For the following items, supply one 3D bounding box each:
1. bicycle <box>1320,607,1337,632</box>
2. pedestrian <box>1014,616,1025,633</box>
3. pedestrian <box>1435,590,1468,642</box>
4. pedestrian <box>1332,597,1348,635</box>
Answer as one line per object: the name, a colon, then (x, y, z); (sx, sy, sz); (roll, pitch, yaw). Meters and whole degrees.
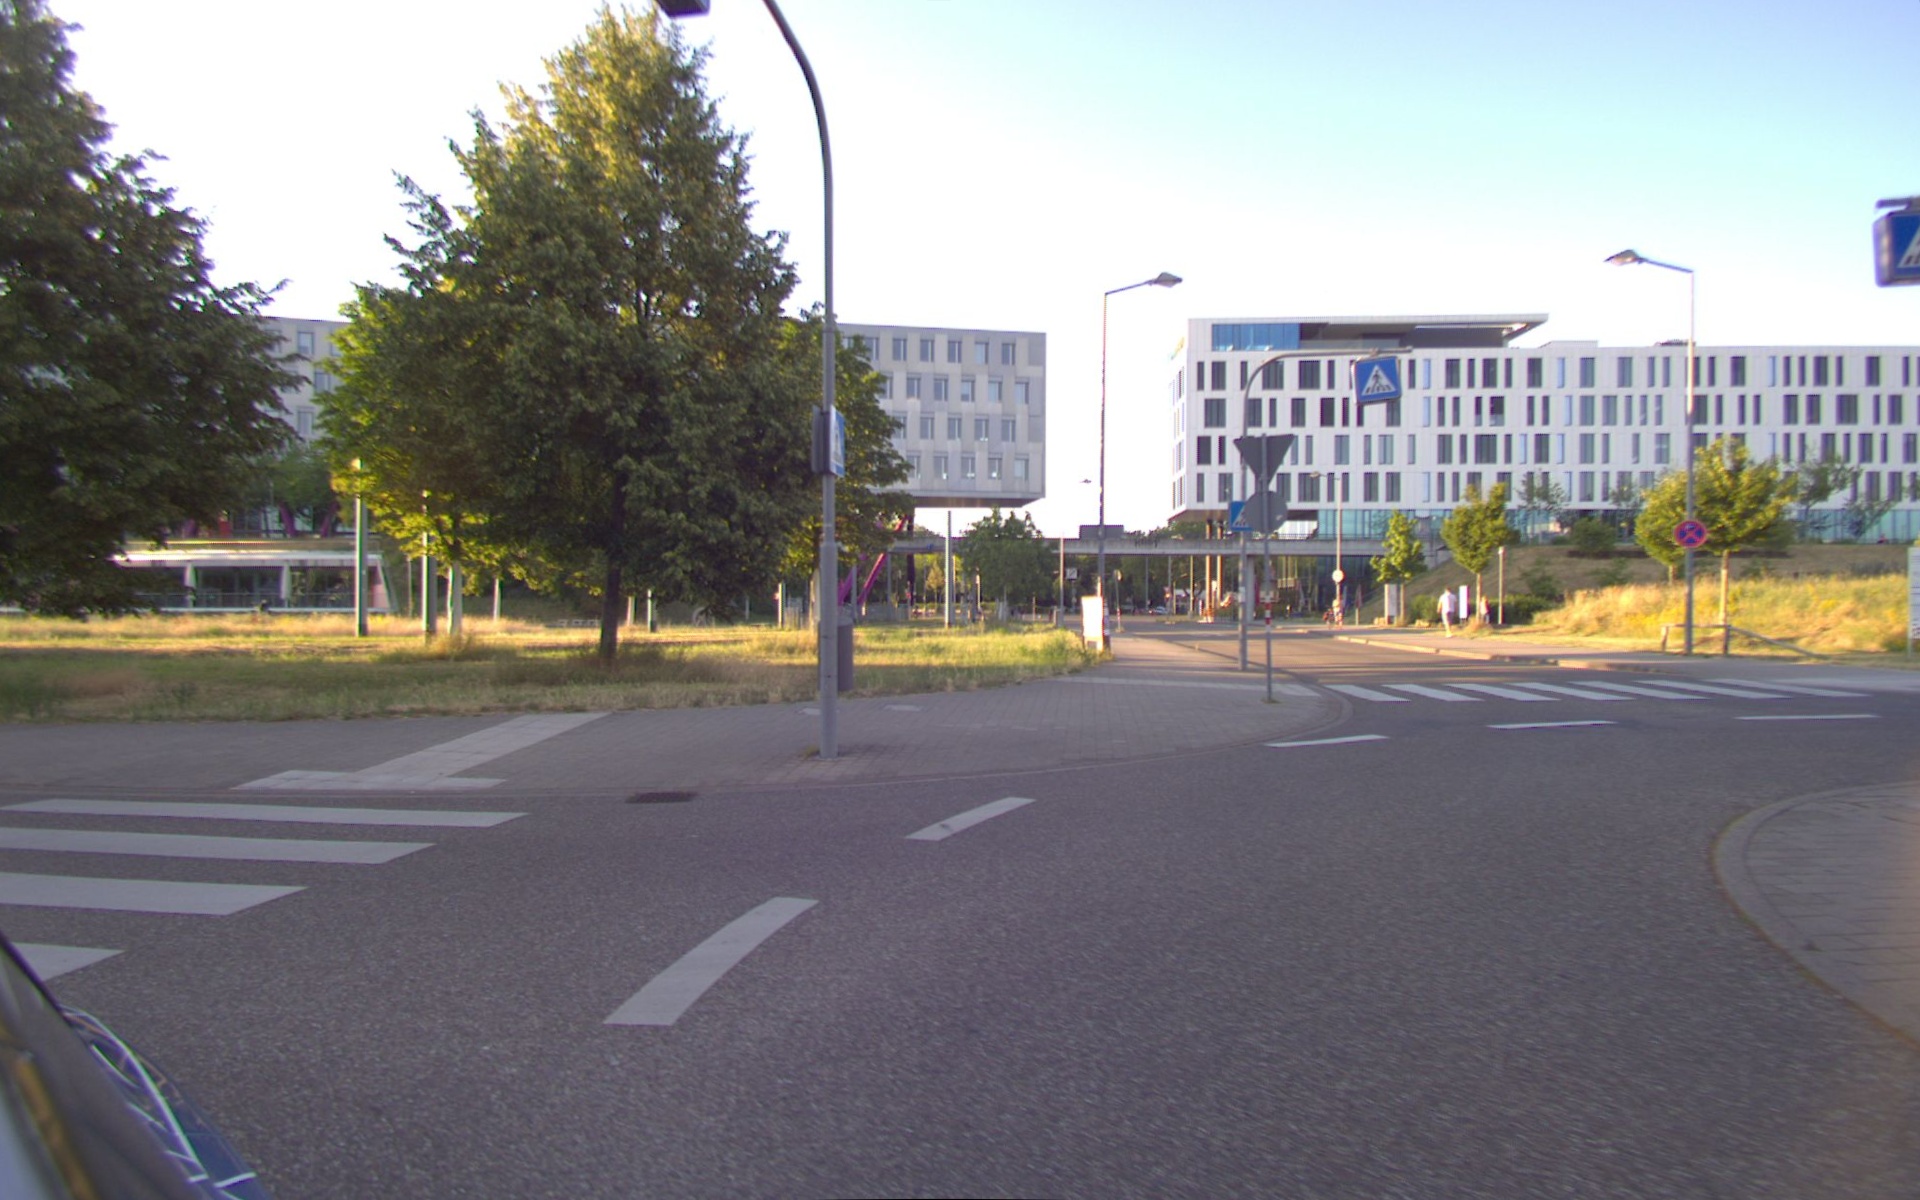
bicycle: (18.086, 0.945, 49.666); (0.446, 1.177, 1.935); (0, 0, 10)
pedestrian: (6.473, 2.693, 110.221); (1.040, 1.848, 0.897); (0, 0, -9)
pedestrian: (17.063, 0.559, 35.144); (0.825, 1.780, 0.815); (0, 0, 11)
pedestrian: (18.599, 0.772, 49.534); (0.590, 1.815, 0.815); (0, 0, 10)
